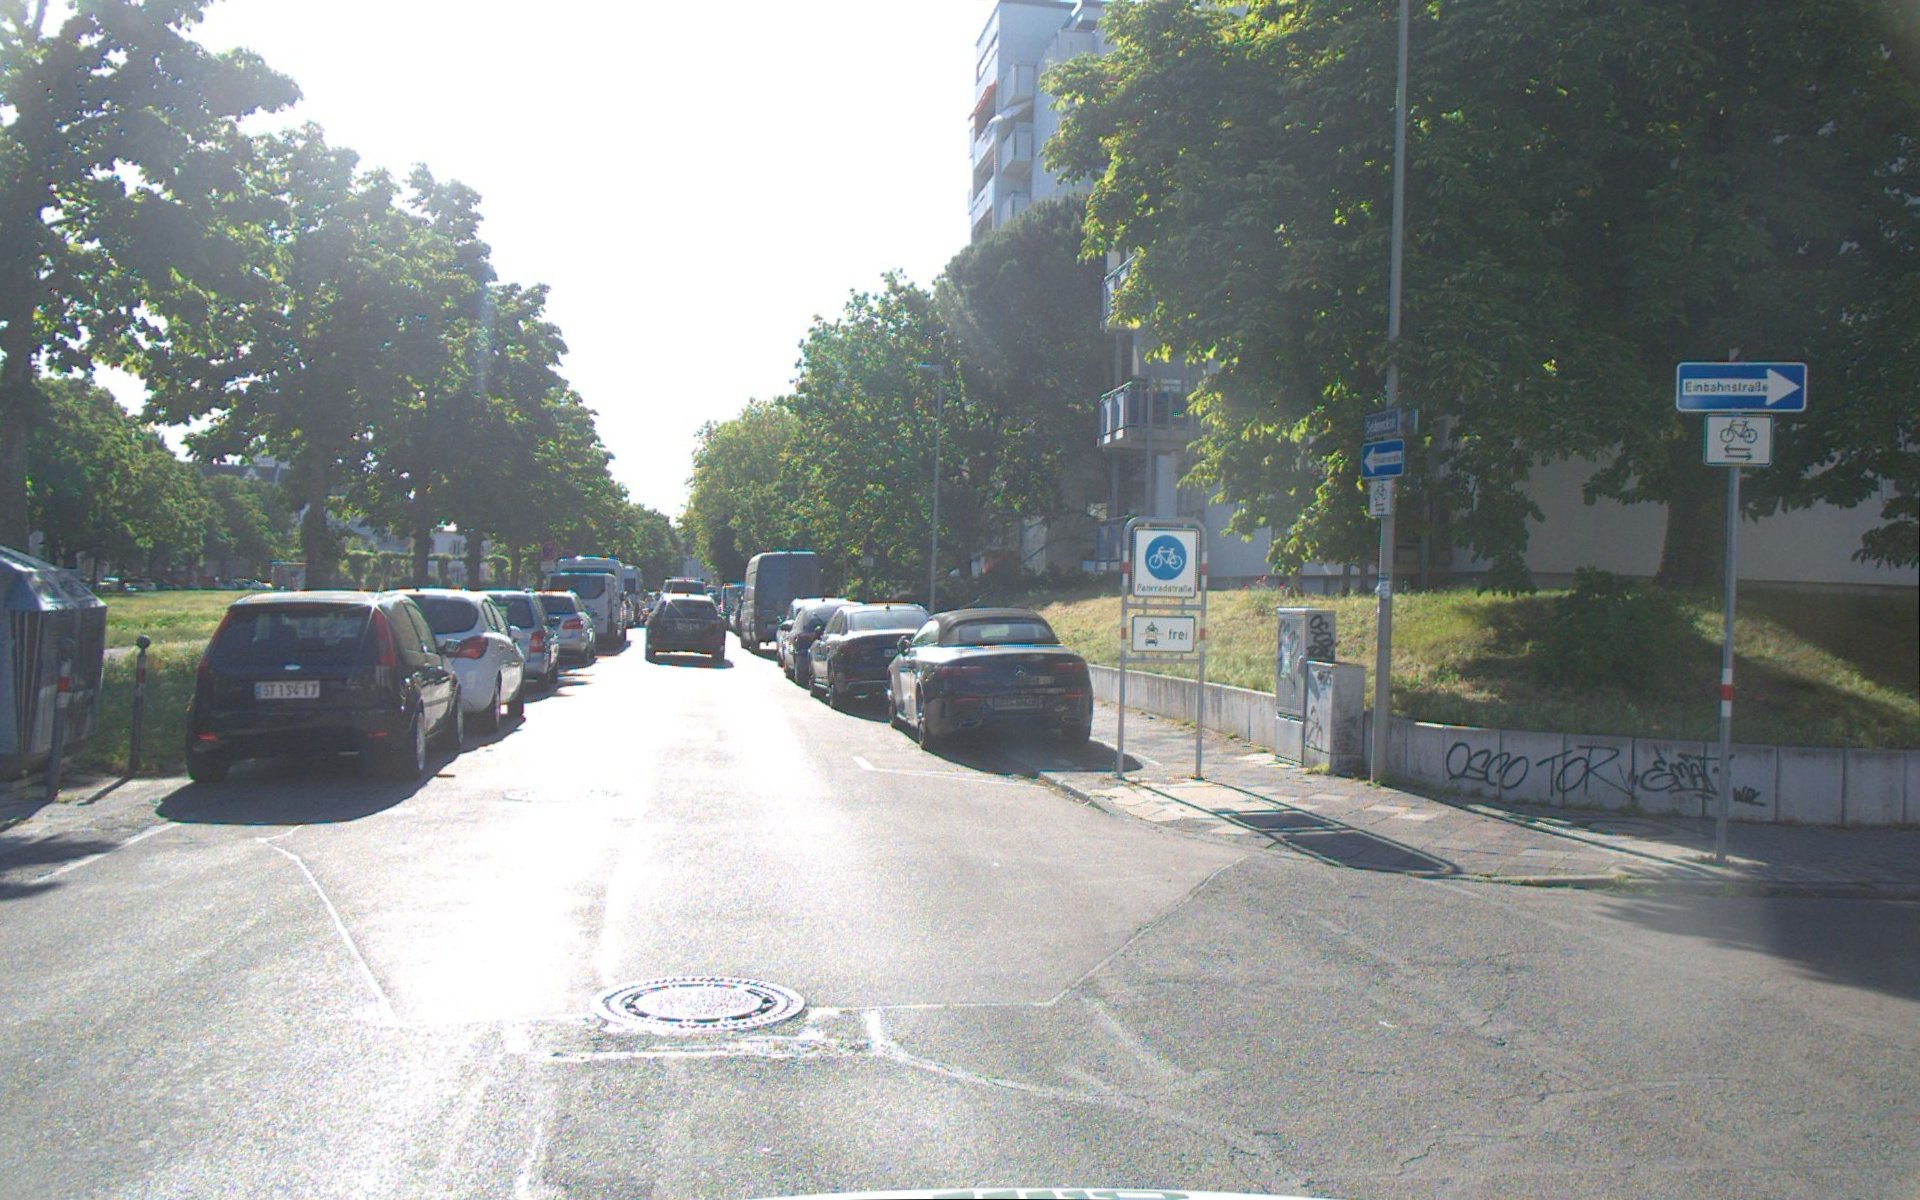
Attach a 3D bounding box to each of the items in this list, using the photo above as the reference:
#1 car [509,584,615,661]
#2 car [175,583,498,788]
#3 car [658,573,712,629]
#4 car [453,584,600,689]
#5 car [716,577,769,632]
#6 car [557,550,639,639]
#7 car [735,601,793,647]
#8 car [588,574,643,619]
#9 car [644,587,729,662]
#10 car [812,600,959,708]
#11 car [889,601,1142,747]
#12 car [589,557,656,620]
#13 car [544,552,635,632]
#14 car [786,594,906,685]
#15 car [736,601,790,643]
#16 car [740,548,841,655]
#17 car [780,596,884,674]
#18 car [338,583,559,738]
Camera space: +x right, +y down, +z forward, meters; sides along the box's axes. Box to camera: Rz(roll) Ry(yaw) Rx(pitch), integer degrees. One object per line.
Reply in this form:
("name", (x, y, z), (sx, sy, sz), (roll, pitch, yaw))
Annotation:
("car", (-8.558, 0.447, 35.825), (1.799, 1.526, 4.119), (2, 0, -8))
("car", (-5.039, 0.621, 13.905), (1.715, 1.450, 3.909), (-1, 0, -8))
("car", (-10.242, 0.021, 61.821), (1.859, 2.026, 4.003), (0, 0, -8))
("car", (-6.767, 0.523, 26.212), (1.746, 1.487, 4.119), (2, 0, -8))
("car", (-9.846, 0.171, 74.467), (2.123, 2.332, 5.253), (1, 0, -10))
("car", (-11.003, -0.180, 50.467), (2.059, 2.540, 4.119), (2, 0, -8))
("car", (-7.077, 0.834, 59.521), (1.951, 1.513, 4.119), (2, 0, -8))
("car", (-14.516, -0.139, 69.906), (1.972, 1.817, 4.119), (1, 0, -8))
("car", (-6.189, 0.521, 37.802), (1.746, 1.558, 3.993), (3, 0, -8))
("car", (-1.185, 0.728, 24.362), (1.746, 1.395, 4.119), (2, 0, -8))
("car", (0.471, 0.730, 18.616), (2.085, 1.361, 4.497), (-1, 0, -8))
("car", (-15.342, -0.520, 75.495), (2.568, 2.691, 6.103), (2, 0, -8))
("car", (-9.831, -0.217, 44.177), (2.060, 1.976, 4.118), (2, 0, -9))
("car", (-2.179, 0.684, 30.645), (1.747, 1.513, 4.021), (1, 0, -10))
("car", (-7.661, 0.826, 63.941), (1.951, 1.513, 4.119), (2, 0, -8))
("car", (-4.745, 0.025, 45.563), (2.125, 2.736, 5.400), (1, 0, -12))
("car", (-2.819, 0.712, 35.657), (1.951, 1.513, 4.119), (2, 0, -8))
("car", (-5.549, 0.607, 18.393), (1.744, 1.521, 3.867), (0, 0, -8))
